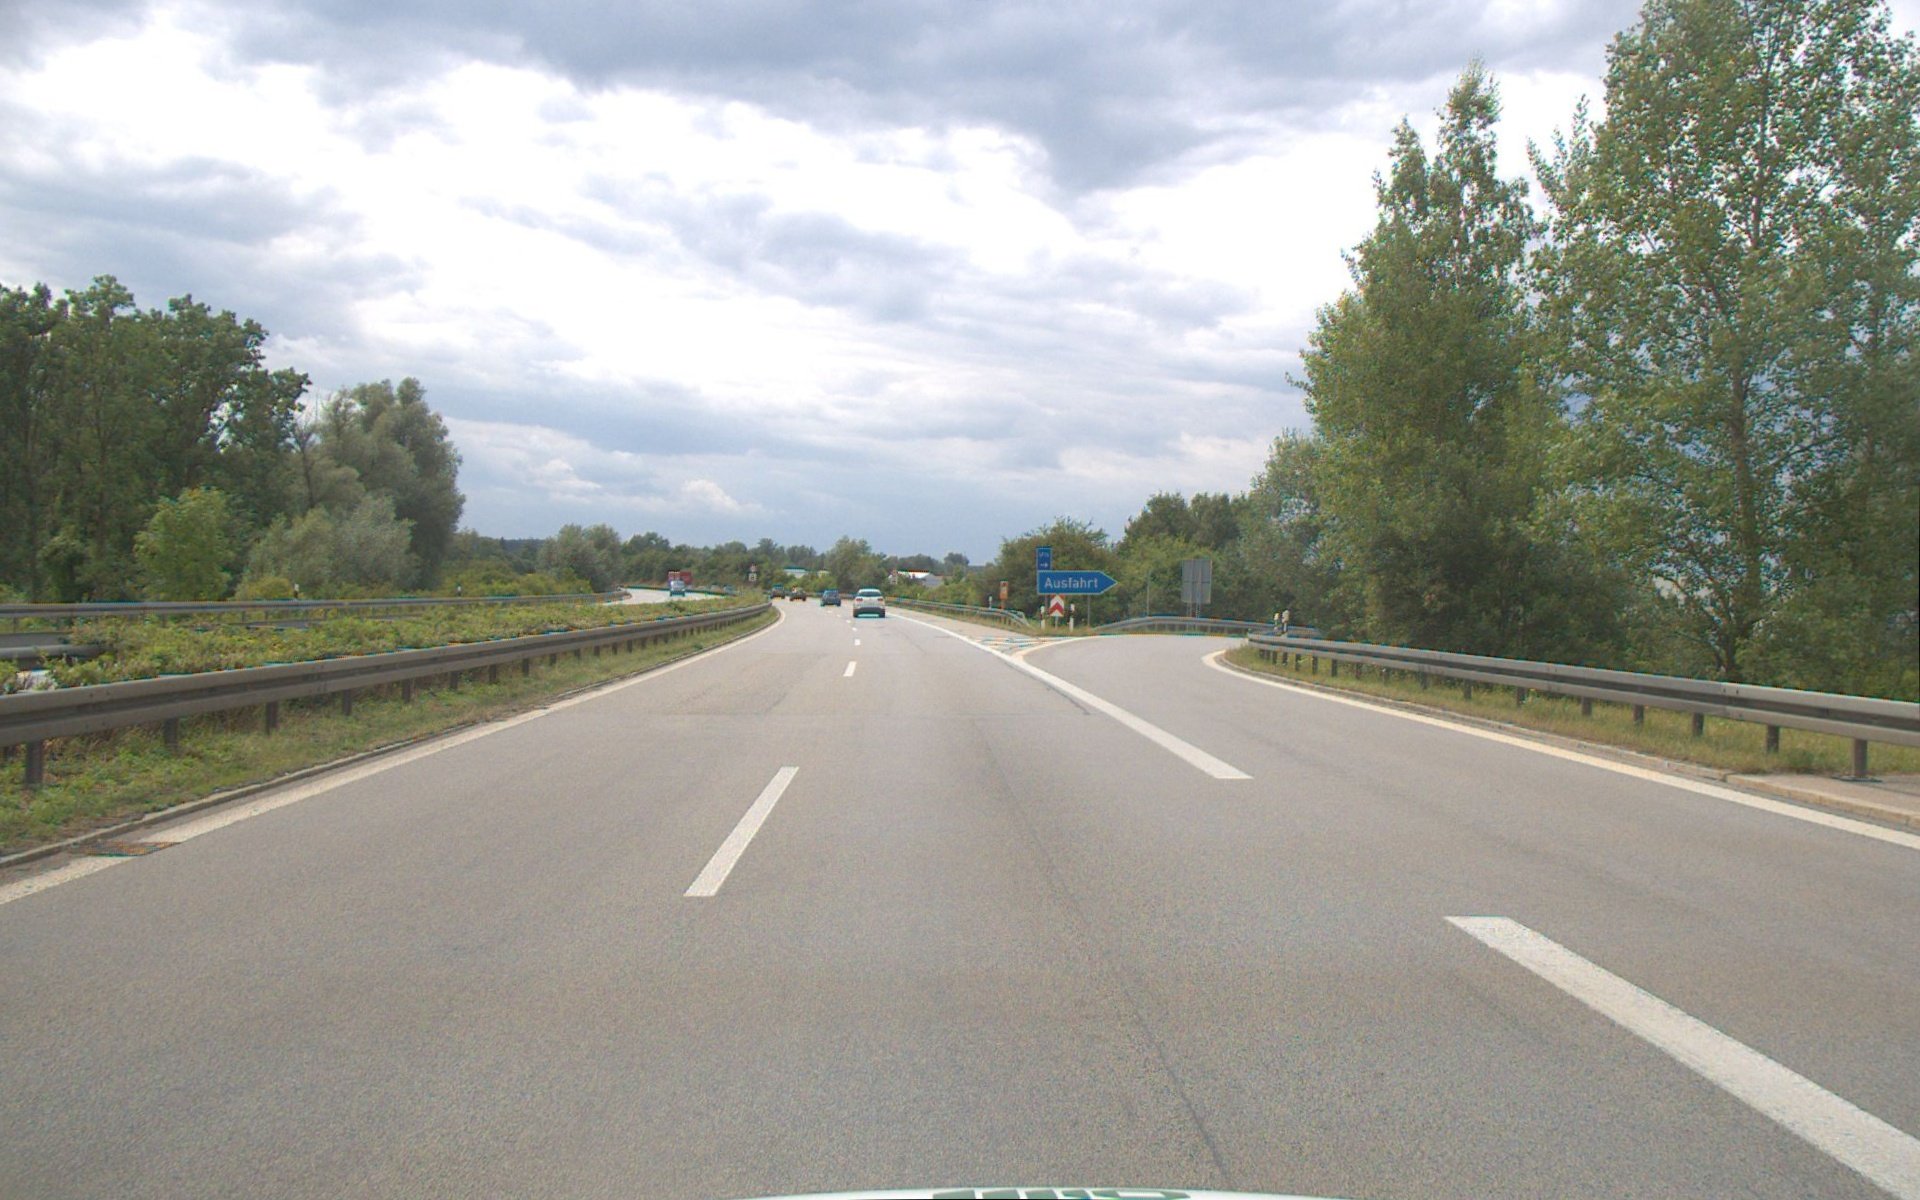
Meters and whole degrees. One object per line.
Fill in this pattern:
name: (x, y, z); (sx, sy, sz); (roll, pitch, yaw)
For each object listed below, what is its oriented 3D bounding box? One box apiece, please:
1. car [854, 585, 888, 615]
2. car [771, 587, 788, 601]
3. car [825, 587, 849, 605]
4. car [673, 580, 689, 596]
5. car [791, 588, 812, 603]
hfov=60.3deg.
car: (-5.363, -0.022, 99.172); (1.865, 1.668, 4.391); (1, 1, -5)
car: (-24.736, -0.821, 226.400); (1.795, 1.825, 4.399); (-2, 1, -13)
car: (-11.517, -0.386, 154.289); (1.857, 1.668, 4.613); (1, 0, -9)
car: (-35.766, -1.522, 211.797); (1.668, 1.917, 5.221); (1, 0, -6)
car: (-18.893, -0.575, 197.118); (1.869, 1.668, 4.765); (1, 0, -12)
